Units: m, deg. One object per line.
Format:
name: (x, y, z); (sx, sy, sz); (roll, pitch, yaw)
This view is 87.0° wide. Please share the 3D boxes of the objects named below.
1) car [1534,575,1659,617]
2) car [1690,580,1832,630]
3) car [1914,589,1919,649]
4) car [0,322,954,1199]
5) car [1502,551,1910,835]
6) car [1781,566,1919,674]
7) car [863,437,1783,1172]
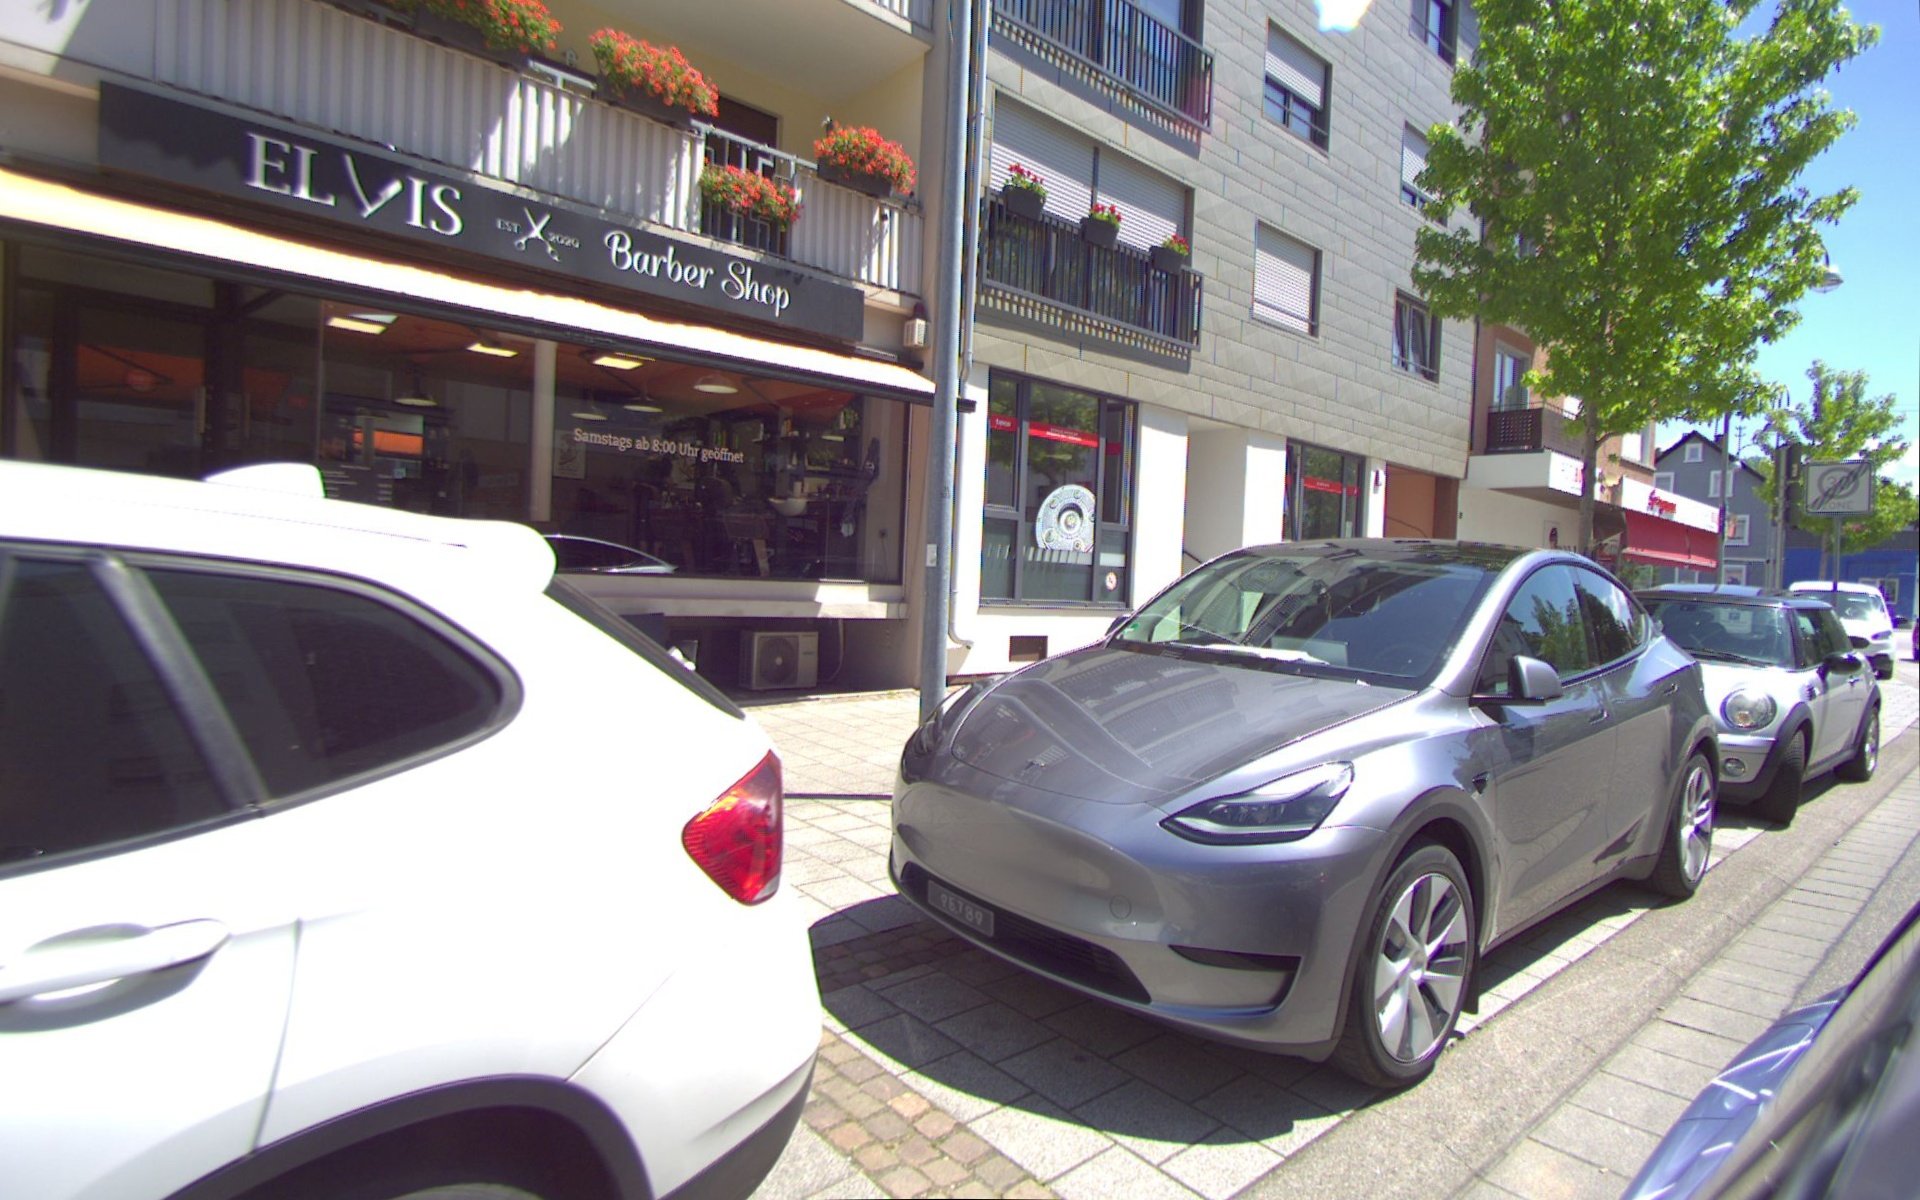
car: (29.556, -0.215, 47.079); (1.966, 1.709, 4.520); (0, 3, -42)
car: (31.140, 0.168, 39.424); (1.771, 1.583, 3.998); (4, 2, -39)
car: (24.961, 0.538, 24.734); (1.824, 1.552, 3.949); (2, 2, 36)
car: (-2.184, 0.469, 1.068); (4.149, 1.602, 1.727); (1, 4, -40)
car: (5.722, 0.511, 7.600); (3.773, 1.578, 1.626); (0, 3, -41)
car: (16.891, 0.320, 19.317); (1.745, 1.745, 3.855); (6, 4, 39)
car: (1.996, 0.440, 4.546); (4.622, 1.726, 1.768); (1, 4, -41)
